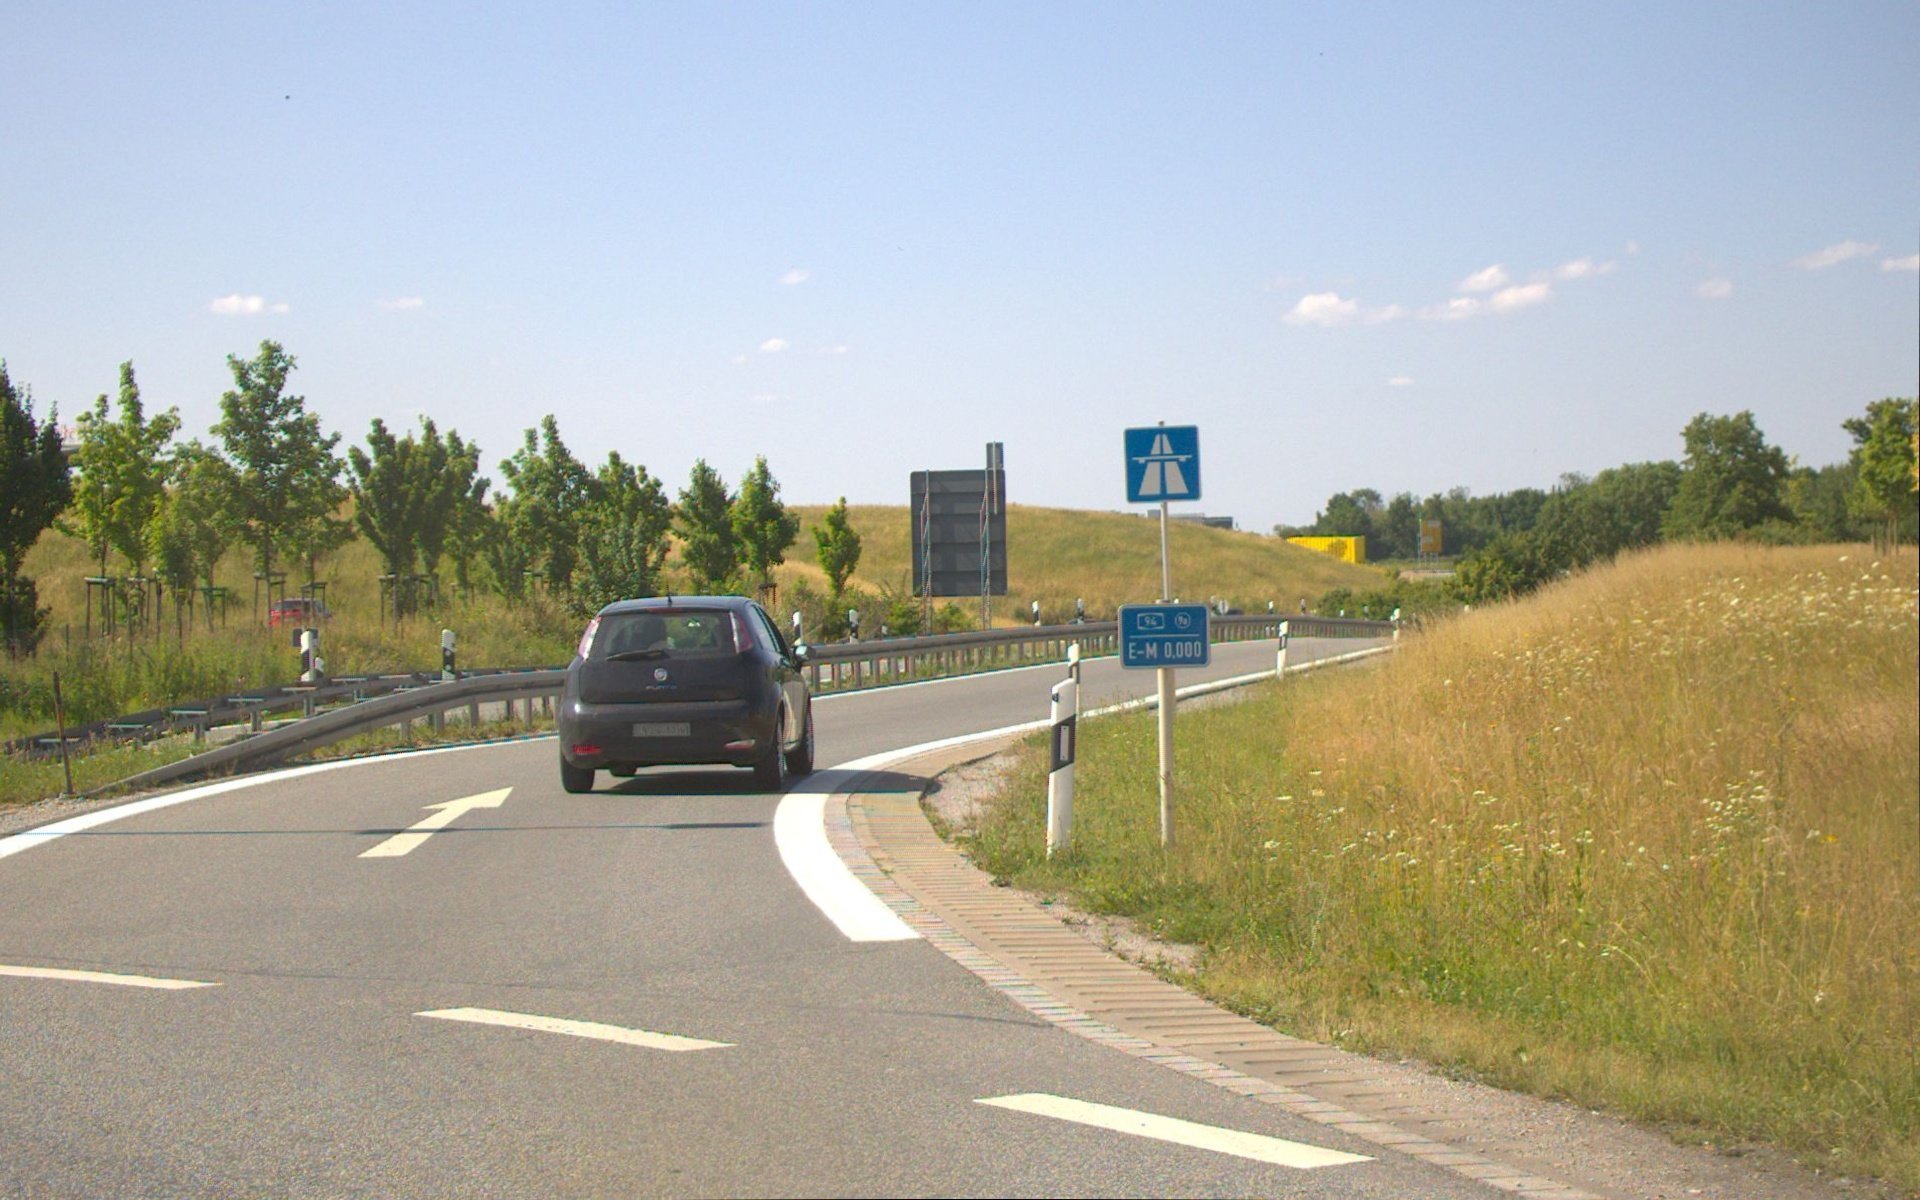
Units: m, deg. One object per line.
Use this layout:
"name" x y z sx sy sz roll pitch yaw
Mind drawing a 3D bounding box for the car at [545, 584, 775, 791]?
"car" -2.304 0.630 27.152 1.639 1.482 3.905 -1 0 -3
